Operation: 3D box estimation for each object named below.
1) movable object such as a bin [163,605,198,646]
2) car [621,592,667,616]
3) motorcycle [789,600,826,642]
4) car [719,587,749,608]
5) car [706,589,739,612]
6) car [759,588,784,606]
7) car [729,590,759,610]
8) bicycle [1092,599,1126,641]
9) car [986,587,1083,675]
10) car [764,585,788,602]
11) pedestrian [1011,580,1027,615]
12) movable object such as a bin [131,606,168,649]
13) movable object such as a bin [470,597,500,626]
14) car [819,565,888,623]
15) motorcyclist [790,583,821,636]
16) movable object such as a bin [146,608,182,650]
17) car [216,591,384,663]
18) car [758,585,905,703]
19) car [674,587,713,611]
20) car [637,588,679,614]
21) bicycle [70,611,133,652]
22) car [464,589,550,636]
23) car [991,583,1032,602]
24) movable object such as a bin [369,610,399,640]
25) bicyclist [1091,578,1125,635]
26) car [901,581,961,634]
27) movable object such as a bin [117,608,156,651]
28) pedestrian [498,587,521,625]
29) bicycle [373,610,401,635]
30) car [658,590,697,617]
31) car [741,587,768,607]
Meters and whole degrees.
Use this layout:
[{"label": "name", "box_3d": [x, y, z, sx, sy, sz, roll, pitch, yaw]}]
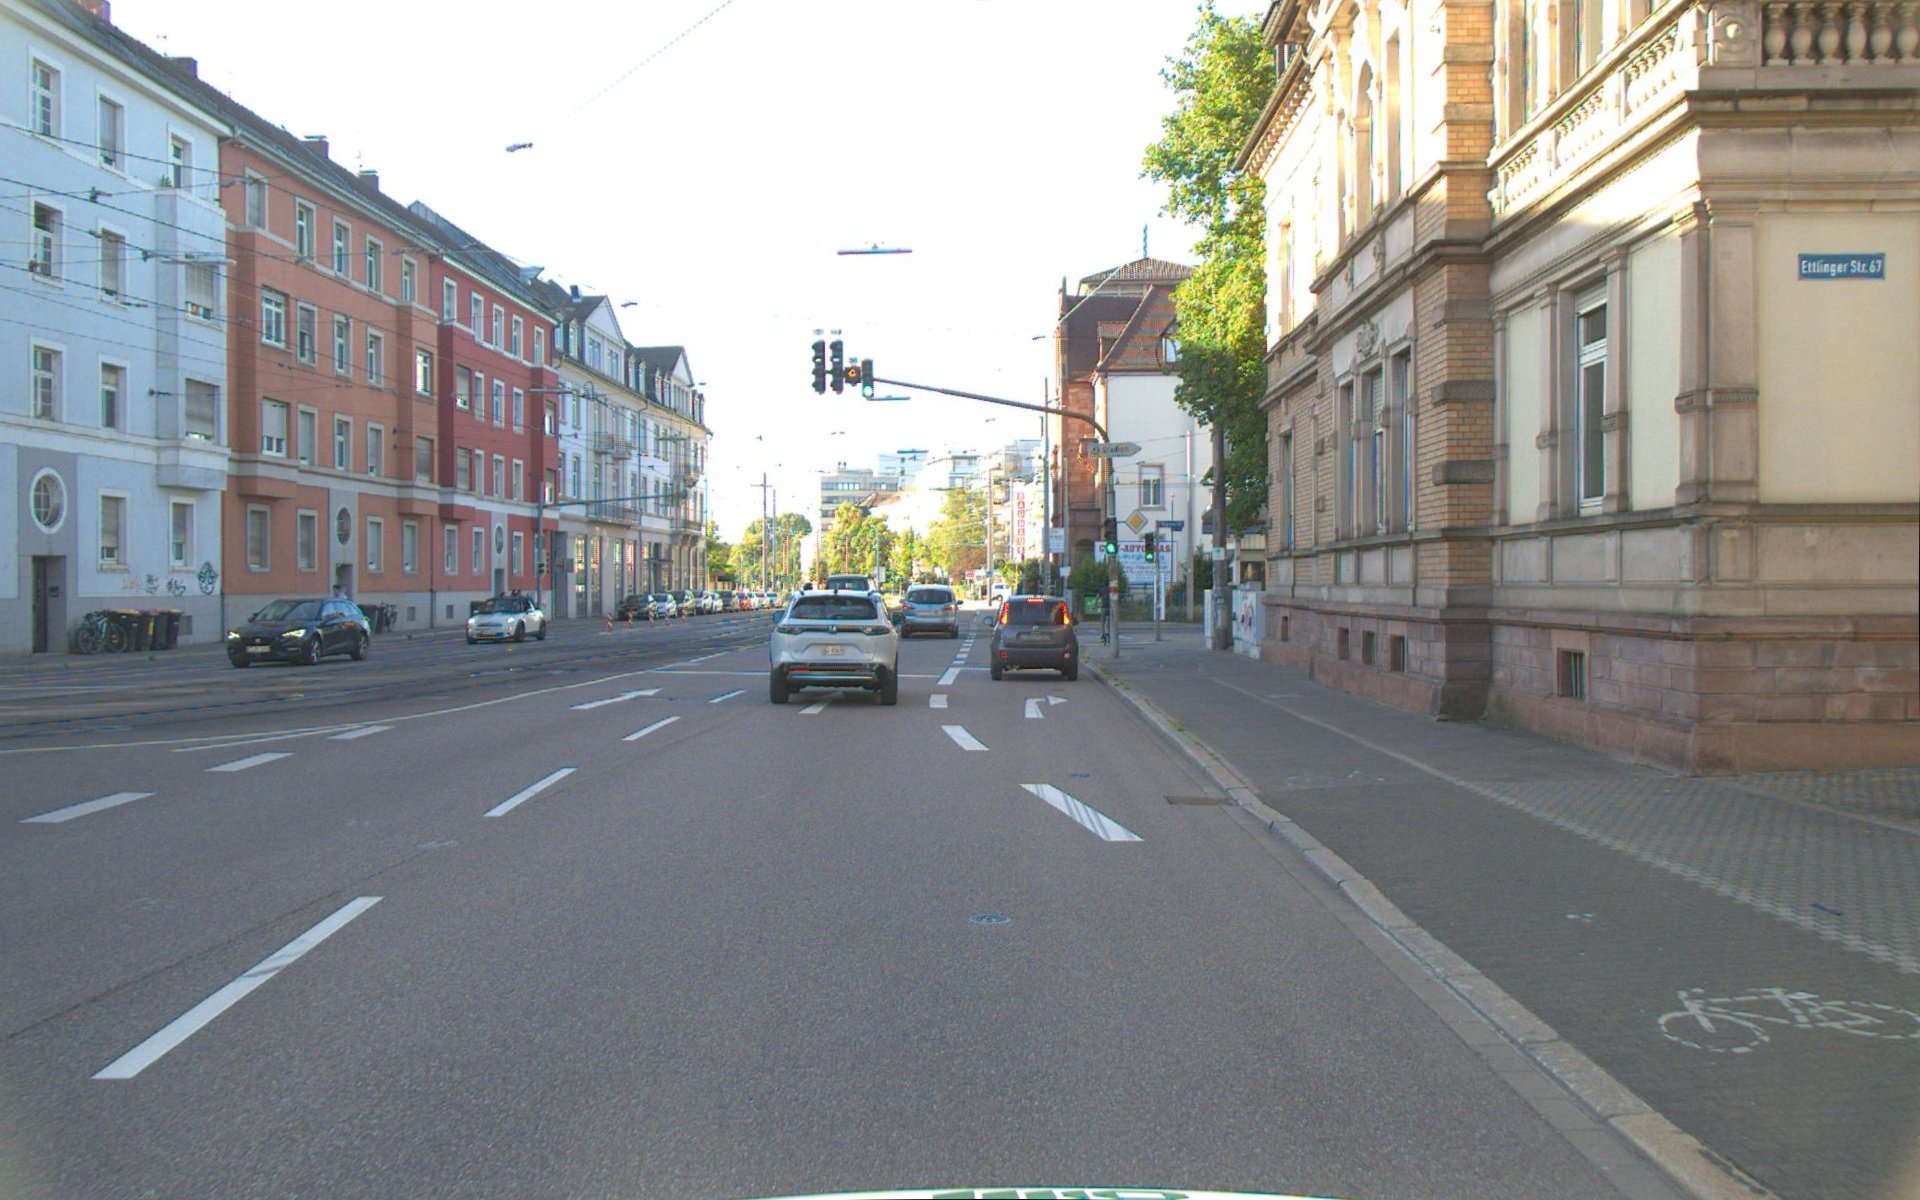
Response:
[{"label": "movable object such as a bin", "box_3d": [-21.390, 0.693, 45.382, 0.687, 1.125, 0.583, 0, 0, 1]}, {"label": "car", "box_3d": [-17.610, 0.196, 92.292, 1.683, 1.254, 4.001, 0, 1, 1]}, {"label": "motorcycle", "box_3d": [-4.199, 0.568, 45.766, 0.761, 1.101, 2.281, 0, 1, 1]}, {"label": "car", "box_3d": [-17.163, -0.220, 125.779, 1.683, 1.579, 4.001, 0, 0, 1]}, {"label": "car", "box_3d": [-17.195, 0.032, 119.819, 1.683, 1.579, 4.001, 0, 0, 1]}, {"label": "car", "box_3d": [-17.034, -0.269, 149.657, 1.683, 1.579, 4.001, 0, 0, 1]}, {"label": "car", "box_3d": [-17.029, -0.022, 130.524, 1.683, 1.579, 4.001, 0, 0, 1]}, {"label": "bicycle", "box_3d": [4.048, 0.542, 45.081, 0.755, 1.105, 1.871, 0, 0, 0]}, {"label": "car", "box_3d": [1.477, 0.534, 31.490, 1.694, 1.527, 4.002, 0, 1, 4]}, {"label": "car", "box_3d": [-17.299, -0.596, 155.676, 1.683, 1.579, 4.001, 0, 0, 1]}, {"label": "pedestrian", "box_3d": [3.177, -0.134, 88.823, 0.857, 1.856, 1.185, 0, 0, 2]}, {"label": "movable object such as a bin", "box_3d": [-21.588, 0.733, 44.041, 0.687, 1.125, 0.583, 0, 0, 1]}, {"label": "movable object such as a bin", "box_3d": [-20.800, 0.499, 72.468, 0.852, 1.271, 1.234, 0, 0, 7]}, {"label": "car", "box_3d": [-3.871, -0.236, 61.076, 2.127, 2.044, 4.809, 0, 0, 1]}, {"label": "motorcyclist", "box_3d": [-4.259, 0.264, 45.706, 0.761, 1.448, 0.891, 0, 0, 1]}, {"label": "movable object such as a bin", "box_3d": [-21.507, 0.773, 44.686, 0.687, 1.125, 0.583, 0, 0, 1]}, {"label": "car", "box_3d": [-14.549, 0.553, 36.742, 1.882, 1.480, 4.498, 0, 0, 1]}, {"label": "car", "box_3d": [-1.776, 0.565, 24.044, 1.908, 1.555, 4.089, 0, 1, -1]}, {"label": "car", "box_3d": [-17.649, -0.072, 109.609, 1.797, 1.579, 4.275, 0, 1, 1]}, {"label": "car", "box_3d": [-17.844, 0.053, 97.882, 1.683, 1.477, 4.001, 0, 1, 1]}, {"label": "bicycle", "box_3d": [-21.675, 0.780, 41.793, 0.593, 0.997, 1.877, 1, 0, 1]}, {"label": "car", "box_3d": [-14.109, 0.358, 51.728, 1.691, 1.399, 3.534, 0, 0, 0]}, {"label": "car", "box_3d": [5.539, -0.840, 178.000, 4.178, 2.049, 1.997, 0, 0, -8]}, {"label": "movable object such as a bin", "box_3d": [-20.978, 0.911, 60.222, 0.826, 1.059, 0.811, 0, 0, -3]}, {"label": "bicyclist", "box_3d": [4.049, 0.170, 45.249, 0.817, 1.552, 0.993, 0, 0, -1]}, {"label": "car", "box_3d": [-0.884, 0.212, 52.821, 1.777, 1.610, 4.000, 0, 0, 1]}, {"label": "movable object such as a bin", "box_3d": [-21.603, 0.765, 43.380, 0.687, 1.125, 0.648, 0, 0, 1]}, {"label": "pedestrian", "box_3d": [-20.225, 0.266, 74.272, 0.776, 1.661, 0.655, 0, 0, 20]}, {"label": "bicycle", "box_3d": [-21.286, 0.821, 61.438, 0.327, 0.906, 1.605, 0, 0, 6]}, {"label": "car", "box_3d": [-17.535, 0.198, 102.831, 1.683, 1.579, 3.857, 0, 0, 1]}, {"label": "car", "box_3d": [-17.220, -0.263, 138.797, 1.683, 1.579, 4.001, 0, 0, 1]}]
